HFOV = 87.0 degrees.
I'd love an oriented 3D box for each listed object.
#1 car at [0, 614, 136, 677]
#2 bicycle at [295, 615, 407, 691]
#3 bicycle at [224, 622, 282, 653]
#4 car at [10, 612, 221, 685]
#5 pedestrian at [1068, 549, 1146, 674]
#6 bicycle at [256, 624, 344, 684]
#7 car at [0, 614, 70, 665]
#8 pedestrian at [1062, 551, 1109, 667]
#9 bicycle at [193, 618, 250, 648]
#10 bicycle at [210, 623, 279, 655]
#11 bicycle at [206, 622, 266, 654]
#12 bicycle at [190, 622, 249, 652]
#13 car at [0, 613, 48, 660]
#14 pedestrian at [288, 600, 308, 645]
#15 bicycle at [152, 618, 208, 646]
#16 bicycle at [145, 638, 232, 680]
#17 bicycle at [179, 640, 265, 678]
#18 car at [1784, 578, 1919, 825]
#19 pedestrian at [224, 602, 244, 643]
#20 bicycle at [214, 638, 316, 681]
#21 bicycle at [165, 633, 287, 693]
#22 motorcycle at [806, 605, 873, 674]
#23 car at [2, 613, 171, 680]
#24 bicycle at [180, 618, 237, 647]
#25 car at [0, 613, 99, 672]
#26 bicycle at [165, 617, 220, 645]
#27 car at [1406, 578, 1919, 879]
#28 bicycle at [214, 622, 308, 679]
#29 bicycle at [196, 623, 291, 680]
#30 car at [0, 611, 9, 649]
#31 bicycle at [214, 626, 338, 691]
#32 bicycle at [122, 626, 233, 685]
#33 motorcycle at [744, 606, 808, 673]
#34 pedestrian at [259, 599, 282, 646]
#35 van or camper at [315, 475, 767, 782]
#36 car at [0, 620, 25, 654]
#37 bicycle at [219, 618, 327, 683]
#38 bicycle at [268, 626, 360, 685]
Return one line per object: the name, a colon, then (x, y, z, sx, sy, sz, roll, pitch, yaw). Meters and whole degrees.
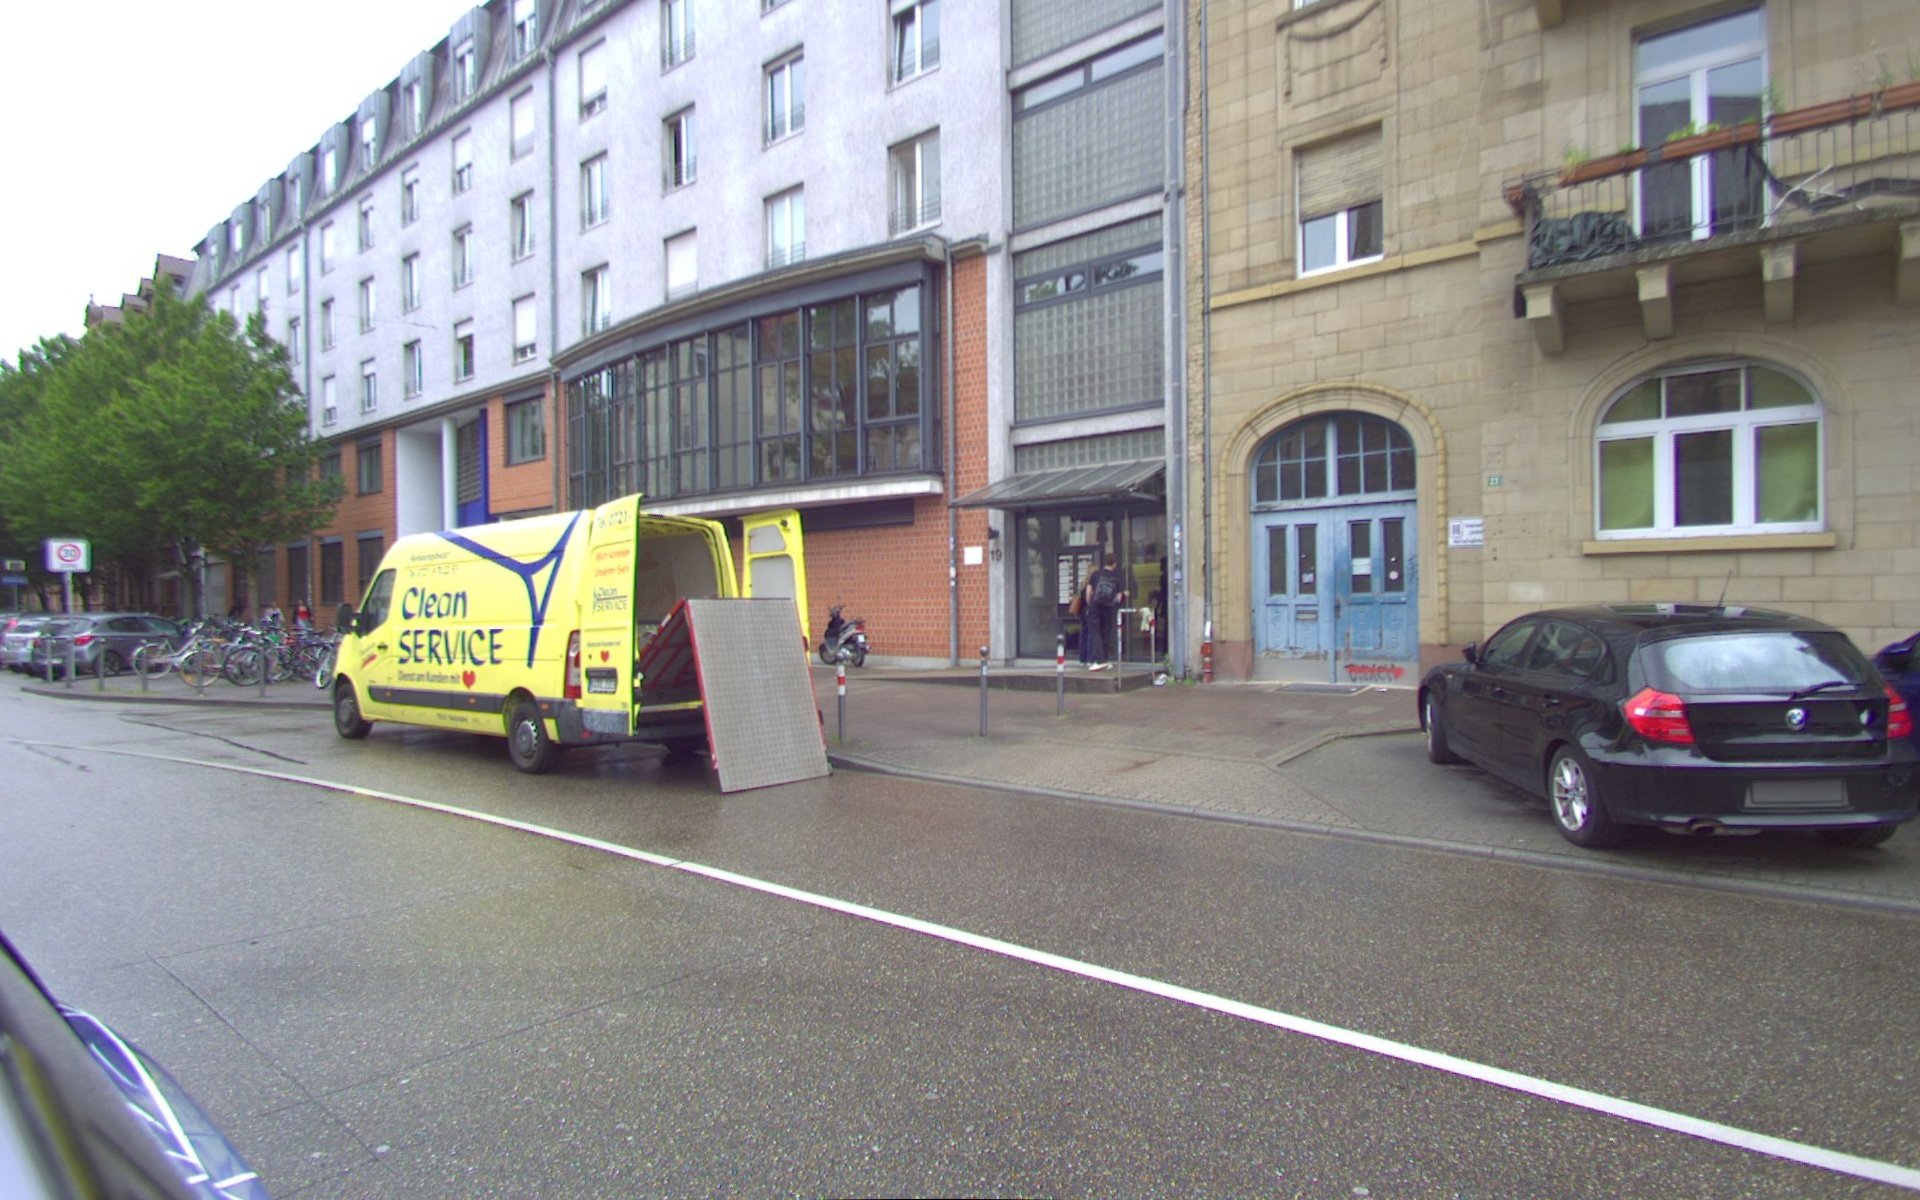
car: (-24.252, 1.184, 27.355, 1.432, 1.514, 3.078, -1, 0, 0)
bicycle: (-11.215, 0.943, 18.720, 0.760, 1.225, 1.917, 0, 3, 5)
bicycle: (-23.845, 1.259, 34.159, 0.444, 0.992, 1.573, -1, -1, 32)
car: (-19.853, 1.084, 23.994, 1.720, 1.514, 3.614, 0, 0, 9)
pedestrian: (2.154, 0.163, 14.734, 0.785, 1.741, 0.997, -1, -1, 31)
bicycle: (-13.278, 1.062, 20.376, 1.439, 1.111, 0.462, -2, 1, -36)
car: (-30.948, 1.283, 32.784, 1.358, 1.567, 2.971, -1, 0, 11)
pedestrian: (1.941, 0.142, 15.678, 0.467, 1.761, 0.608, 0, -2, -24)
bicycle: (-25.623, 1.142, 35.140, 0.444, 0.992, 1.573, -1, -1, 32)
bicycle: (-23.387, 1.248, 33.121, 0.444, 0.992, 1.831, -1, -1, 32)
bicycle: (-23.827, 1.248, 33.332, 0.444, 0.992, 1.573, -1, -1, 32)
bicycle: (-25.285, 1.252, 34.573, 0.444, 0.992, 1.573, -1, -1, 32)
car: (-33.058, 1.270, 34.557, 1.138, 1.567, 2.672, -1, 0, 11)
pedestrian: (-23.767, 0.806, 36.326, 0.425, 1.622, 0.508, -1, -1, 41)
bicycle: (-28.530, 1.149, 37.024, 0.464, 0.992, 1.573, -1, -1, 32)
bicycle: (-17.133, 1.291, 22.489, 0.497, 0.811, 1.454, -1, 1, 43)
bicycle: (-16.353, 1.286, 22.444, 0.497, 0.727, 1.454, -1, 1, 43)
car: (6.919, 0.637, 5.721, 1.780, 1.585, 4.029, -1, -1, 11)
pedestrian: (-29.049, 0.900, 40.482, 0.533, 1.609, 0.564, -1, -1, 41)
bicycle: (-14.503, 1.216, 21.160, 0.455, 0.767, 1.757, -1, 1, 27)
bicycle: (-13.793, 1.157, 19.068, 0.519, 1.000, 1.778, -1, 1, 38)
motorcycle: (-2.212, 0.690, 18.424, 0.516, 1.190, 1.763, -1, 0, -30)
car: (-22.152, 1.142, 25.803, 1.436, 1.514, 3.070, -1, 0, 9)
bicycle: (-26.581, 1.145, 35.810, 0.464, 0.992, 1.573, -1, -1, 32)
car: (-26.669, 1.189, 28.959, 1.432, 1.564, 3.078, -1, 0, 0)
bicycle: (-28.839, 1.158, 38.049, 0.464, 0.992, 1.573, -1, -1, 32)
car: (4.741, 0.676, 7.173, 1.777, 1.523, 4.034, 0, -1, 7)
bicycle: (-14.937, 1.062, 21.673, 0.517, 1.114, 1.596, -1, 1, 27)
bicycle: (-15.528, 1.093, 21.970, 0.519, 1.114, 1.591, -1, 1, 35)
car: (-48.718, 1.466, 48.833, 1.666, 1.910, 4.330, 0, -1, -1)
bicycle: (-12.791, 1.074, 18.963, 1.832, 1.081, 0.610, -2, 1, -45)
bicycle: (-16.575, 1.150, 21.487, 0.472, 1.114, 1.791, -1, 1, 35)
motorcycle: (-3.527, 0.721, 19.305, 0.516, 1.190, 2.010, -1, 0, -30)
pedestrian: (-24.446, 0.794, 35.865, 0.372, 1.622, 0.598, -1, -1, 39)
van or camper: (-4.947, 0.299, 11.410, 5.936, 2.631, 2.174, -1, -2, 39)
car: (-43.503, 1.627, 44.547, 1.662, 1.502, 3.798, 0, -1, -10)
bicycle: (-14.066, 1.009, 20.772, 0.517, 1.203, 1.798, -1, 1, 27)
bicycle: (-12.677, 1.069, 19.887, 0.418, 1.072, 1.442, -1, 1, 44)
